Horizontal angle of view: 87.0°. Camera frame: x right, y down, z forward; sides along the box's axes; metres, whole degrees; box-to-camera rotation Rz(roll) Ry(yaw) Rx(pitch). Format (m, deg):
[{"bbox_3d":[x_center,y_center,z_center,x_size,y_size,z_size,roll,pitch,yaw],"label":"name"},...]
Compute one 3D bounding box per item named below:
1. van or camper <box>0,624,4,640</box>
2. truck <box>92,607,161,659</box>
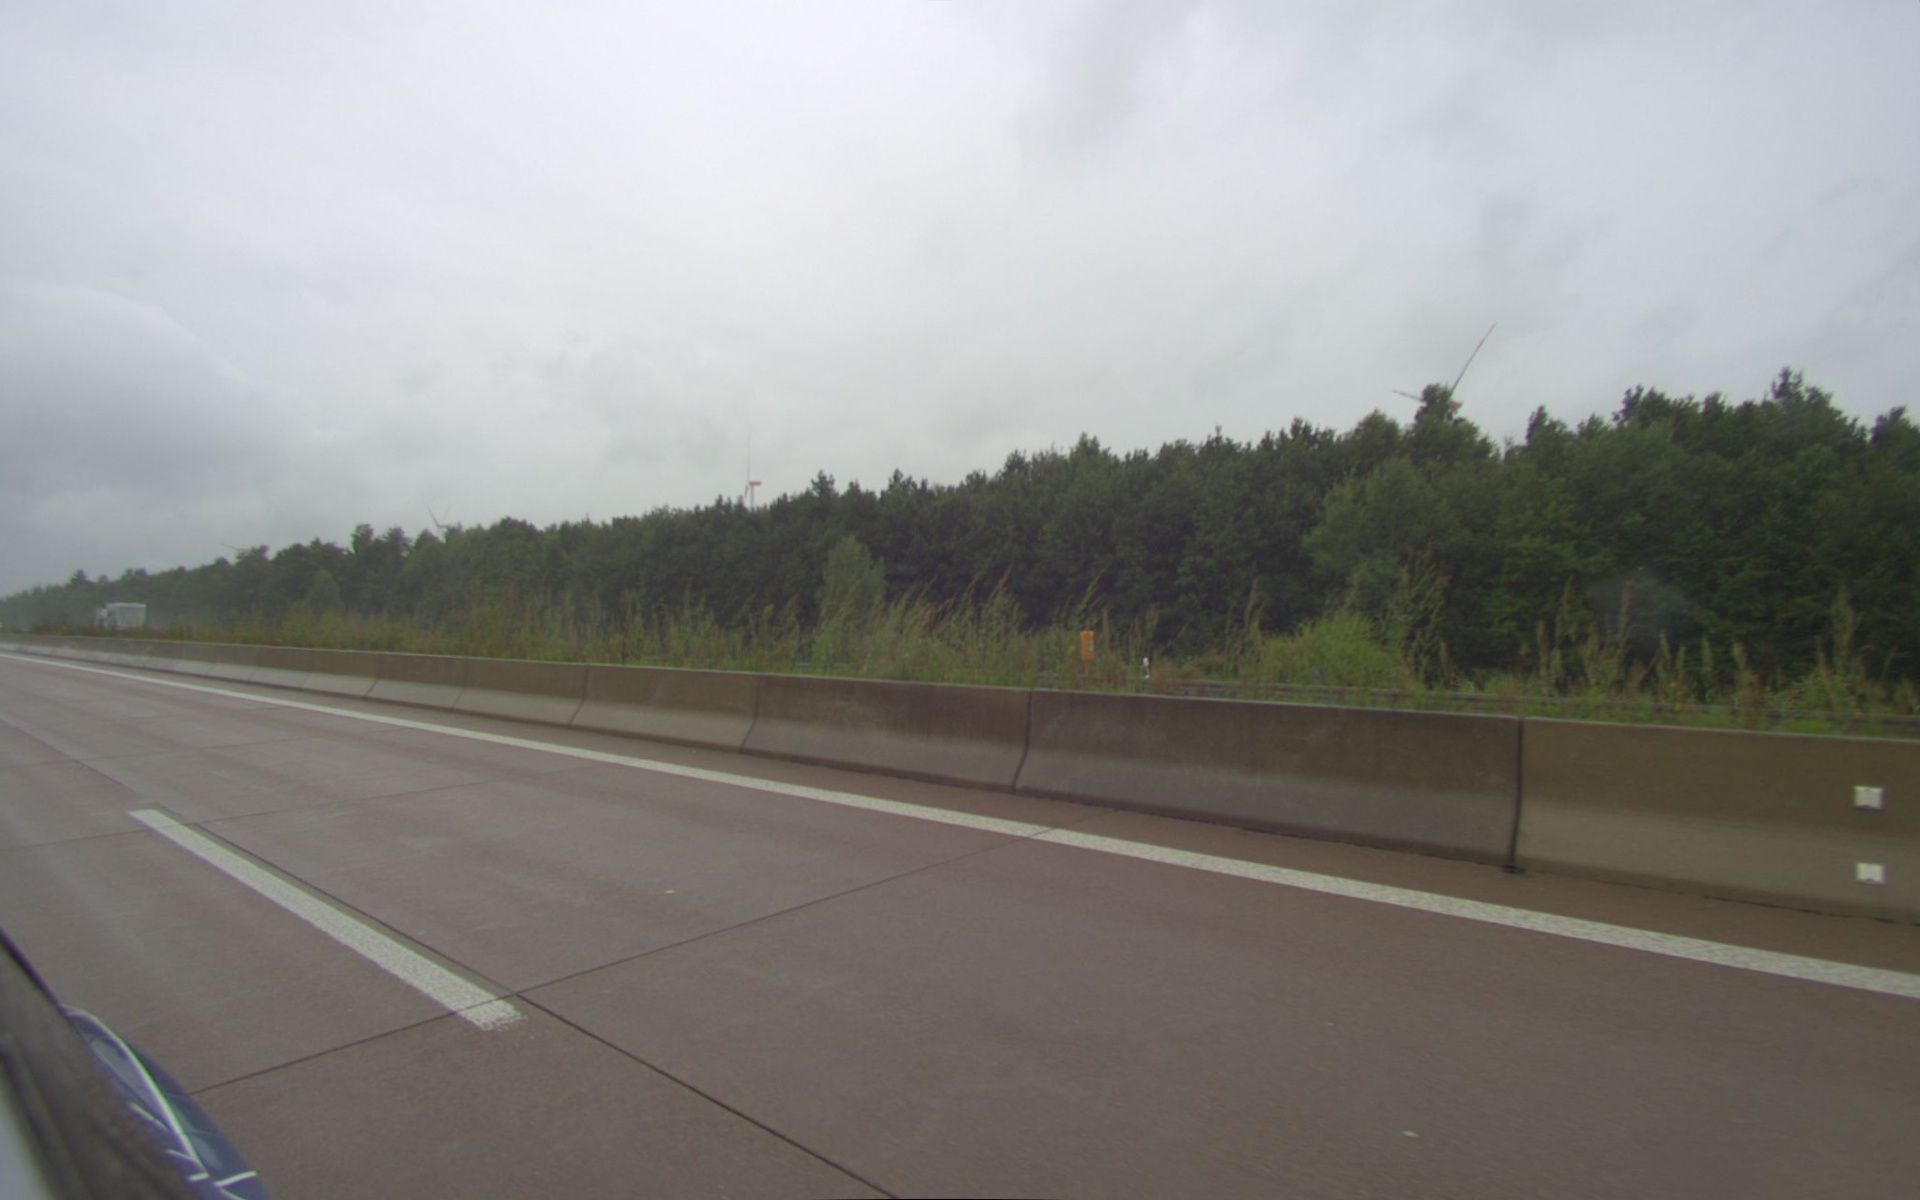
[{"bbox_3d":[-133.927,4.393,139.733,5.717,2.222,2.108,-1,-1,40],"label":"van or camper"},{"bbox_3d":[-77.859,3.045,94.426,9.548,4.505,3.114,-2,0,40],"label":"truck"}]
